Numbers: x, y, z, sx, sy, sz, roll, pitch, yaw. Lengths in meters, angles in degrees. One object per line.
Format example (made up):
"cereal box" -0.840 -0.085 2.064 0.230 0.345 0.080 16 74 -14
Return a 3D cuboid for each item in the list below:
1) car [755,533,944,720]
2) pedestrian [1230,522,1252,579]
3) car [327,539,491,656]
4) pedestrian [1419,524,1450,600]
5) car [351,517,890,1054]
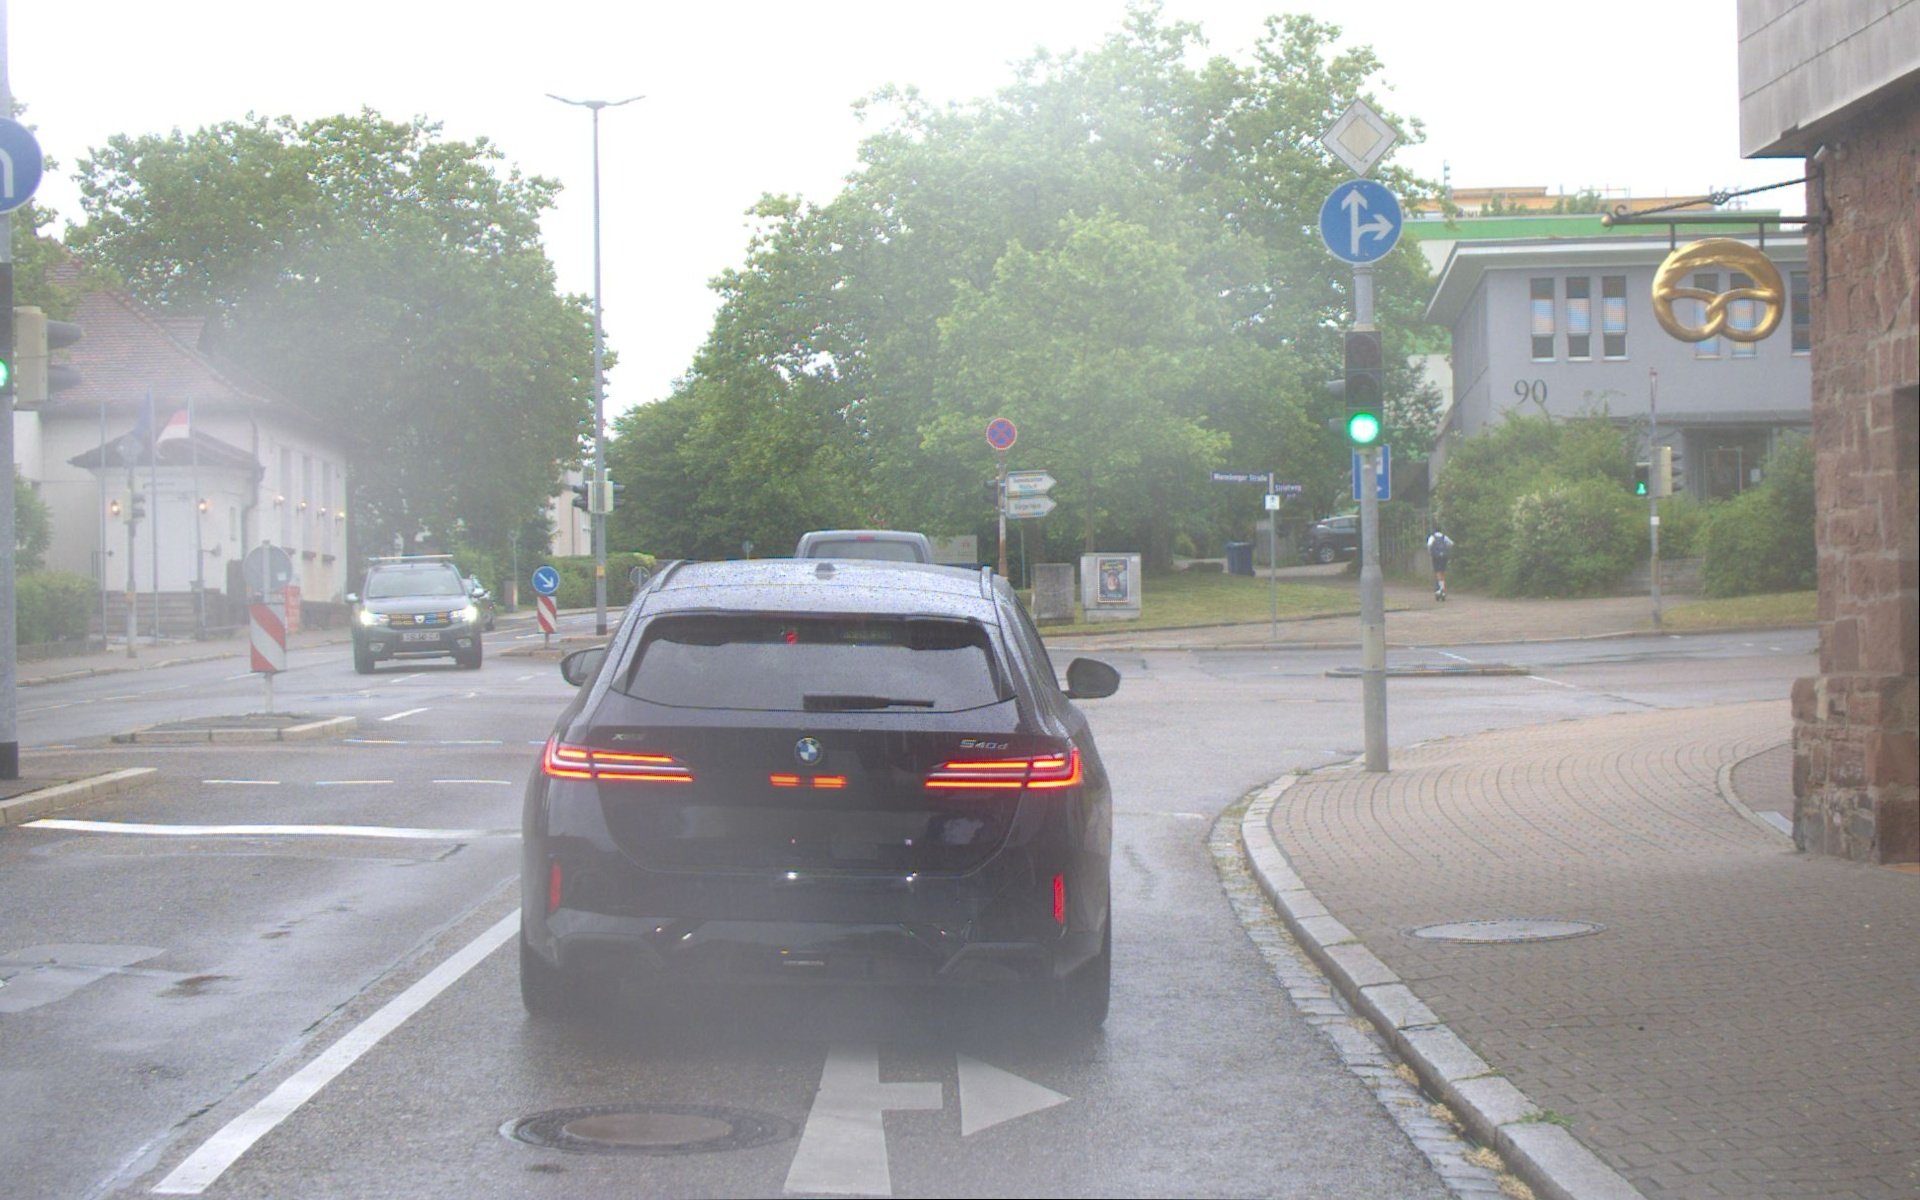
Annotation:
"car" -1.195 0.253 35.573 1.812 1.802 3.757 1 0 -3
"pedestrian" 8.864 -1.555 108.367 0.557 1.757 0.728 1 0 -5
"car" -7.909 -0.074 49.690 1.898 1.572 4.503 -1 1 -3
"pedestrian" 10.140 -0.817 73.483 0.601 1.611 0.525 1 0 6
"car" -1.086 0.534 11.699 1.523 1.529 3.532 1 0 -3
